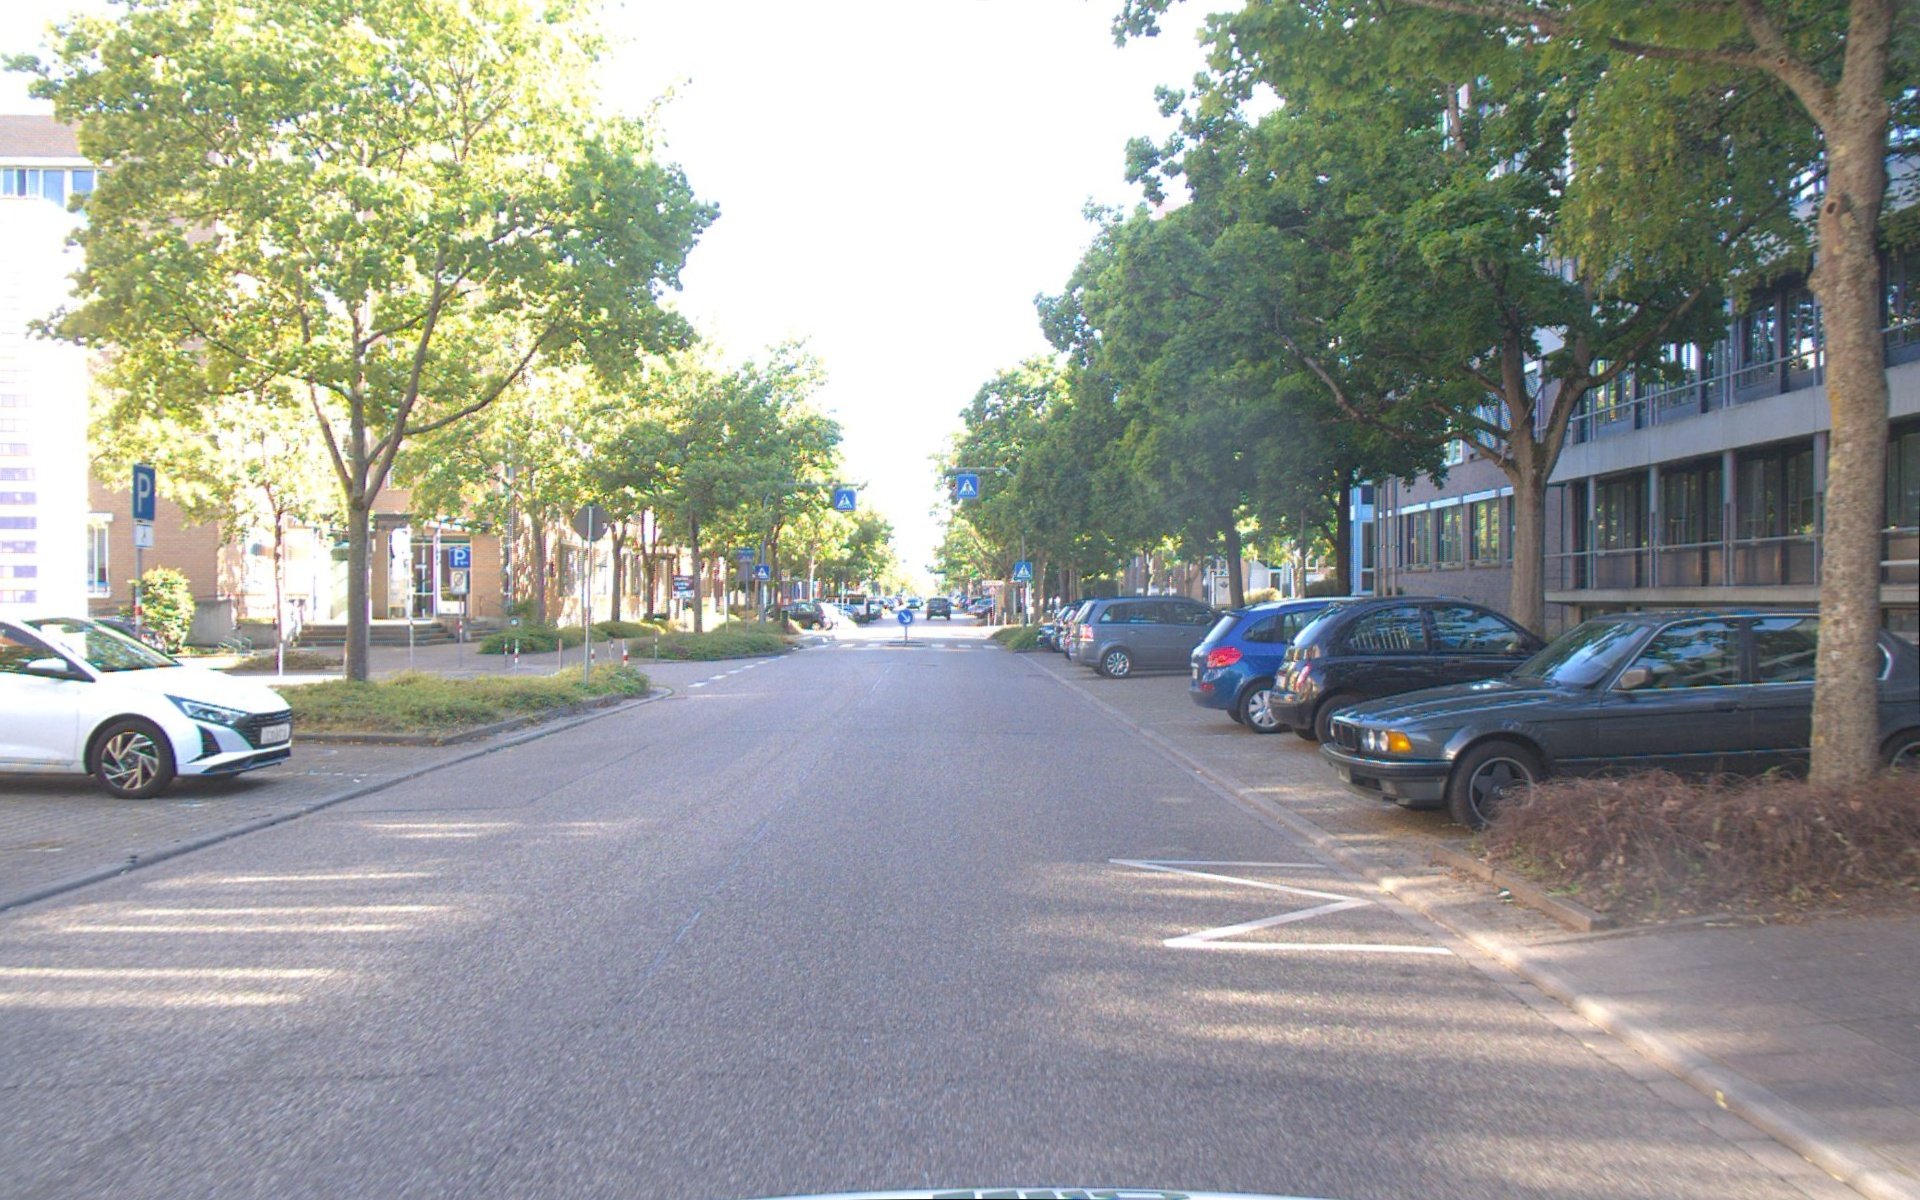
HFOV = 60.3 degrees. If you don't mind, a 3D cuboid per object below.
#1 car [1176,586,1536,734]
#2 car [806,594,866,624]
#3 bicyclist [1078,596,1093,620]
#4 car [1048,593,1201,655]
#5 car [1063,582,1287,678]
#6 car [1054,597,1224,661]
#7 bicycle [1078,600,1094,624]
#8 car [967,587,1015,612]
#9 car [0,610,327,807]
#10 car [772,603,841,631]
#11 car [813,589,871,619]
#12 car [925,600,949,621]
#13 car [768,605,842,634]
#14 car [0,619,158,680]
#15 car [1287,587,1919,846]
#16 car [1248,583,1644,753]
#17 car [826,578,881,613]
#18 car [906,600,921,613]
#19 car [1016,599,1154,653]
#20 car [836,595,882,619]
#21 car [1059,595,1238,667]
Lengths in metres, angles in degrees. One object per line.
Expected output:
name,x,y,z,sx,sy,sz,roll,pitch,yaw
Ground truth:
car,4.676,0.694,19.932,3.868,1.541,1.813,-2,0,0
car,-8.637,0.626,115.701,3.903,2.049,2.001,-1,0,3
bicyclist,6.616,0.404,86.881,0.683,1.236,0.946,-1,0,10
car,4.700,0.681,47.644,4.108,1.563,1.811,-2,0,-4
car,4.388,0.604,34.133,4.265,1.733,1.811,-2,0,-4
car,4.618,0.739,43.042,4.108,1.474,1.811,-2,0,-4
bicycle,6.628,0.626,86.907,0.669,1.236,1.978,-1,0,10
car,2.563,-0.053,138.335,3.907,2.049,1.999,-1,0,-3
car,-7.555,0.848,13.712,3.906,1.512,1.806,0,0,-2
car,-8.636,0.967,92.977,3.775,1.499,1.810,1,0,-7
car,-8.473,0.314,118.843,3.903,2.049,2.001,-1,0,3
car,-1.894,0.868,135.959,1.953,1.668,3.999,1,0,-1
car,-8.305,1.043,88.531,3.780,1.499,1.808,1,0,-11
car,-24.801,1.363,45.868,4.106,1.502,2.000,-1,1,-1
car,4.877,0.724,11.509,4.729,1.444,2.031,-2,0,-3
car,5.003,0.679,17.377,3.567,1.541,1.812,-2,0,-1
car,-7.950,-0.307,123.914,3.903,2.586,1.863,0,0,4
car,-5.924,0.844,210.538,1.776,1.551,4.000,-1,0,0
car,3.933,0.803,52.314,4.108,1.499,1.811,-2,0,-4
car,-8.751,0.612,143.262,3.907,2.049,1.999,-1,0,-3
car,4.629,0.741,40.930,4.108,1.563,1.811,-2,0,-4
